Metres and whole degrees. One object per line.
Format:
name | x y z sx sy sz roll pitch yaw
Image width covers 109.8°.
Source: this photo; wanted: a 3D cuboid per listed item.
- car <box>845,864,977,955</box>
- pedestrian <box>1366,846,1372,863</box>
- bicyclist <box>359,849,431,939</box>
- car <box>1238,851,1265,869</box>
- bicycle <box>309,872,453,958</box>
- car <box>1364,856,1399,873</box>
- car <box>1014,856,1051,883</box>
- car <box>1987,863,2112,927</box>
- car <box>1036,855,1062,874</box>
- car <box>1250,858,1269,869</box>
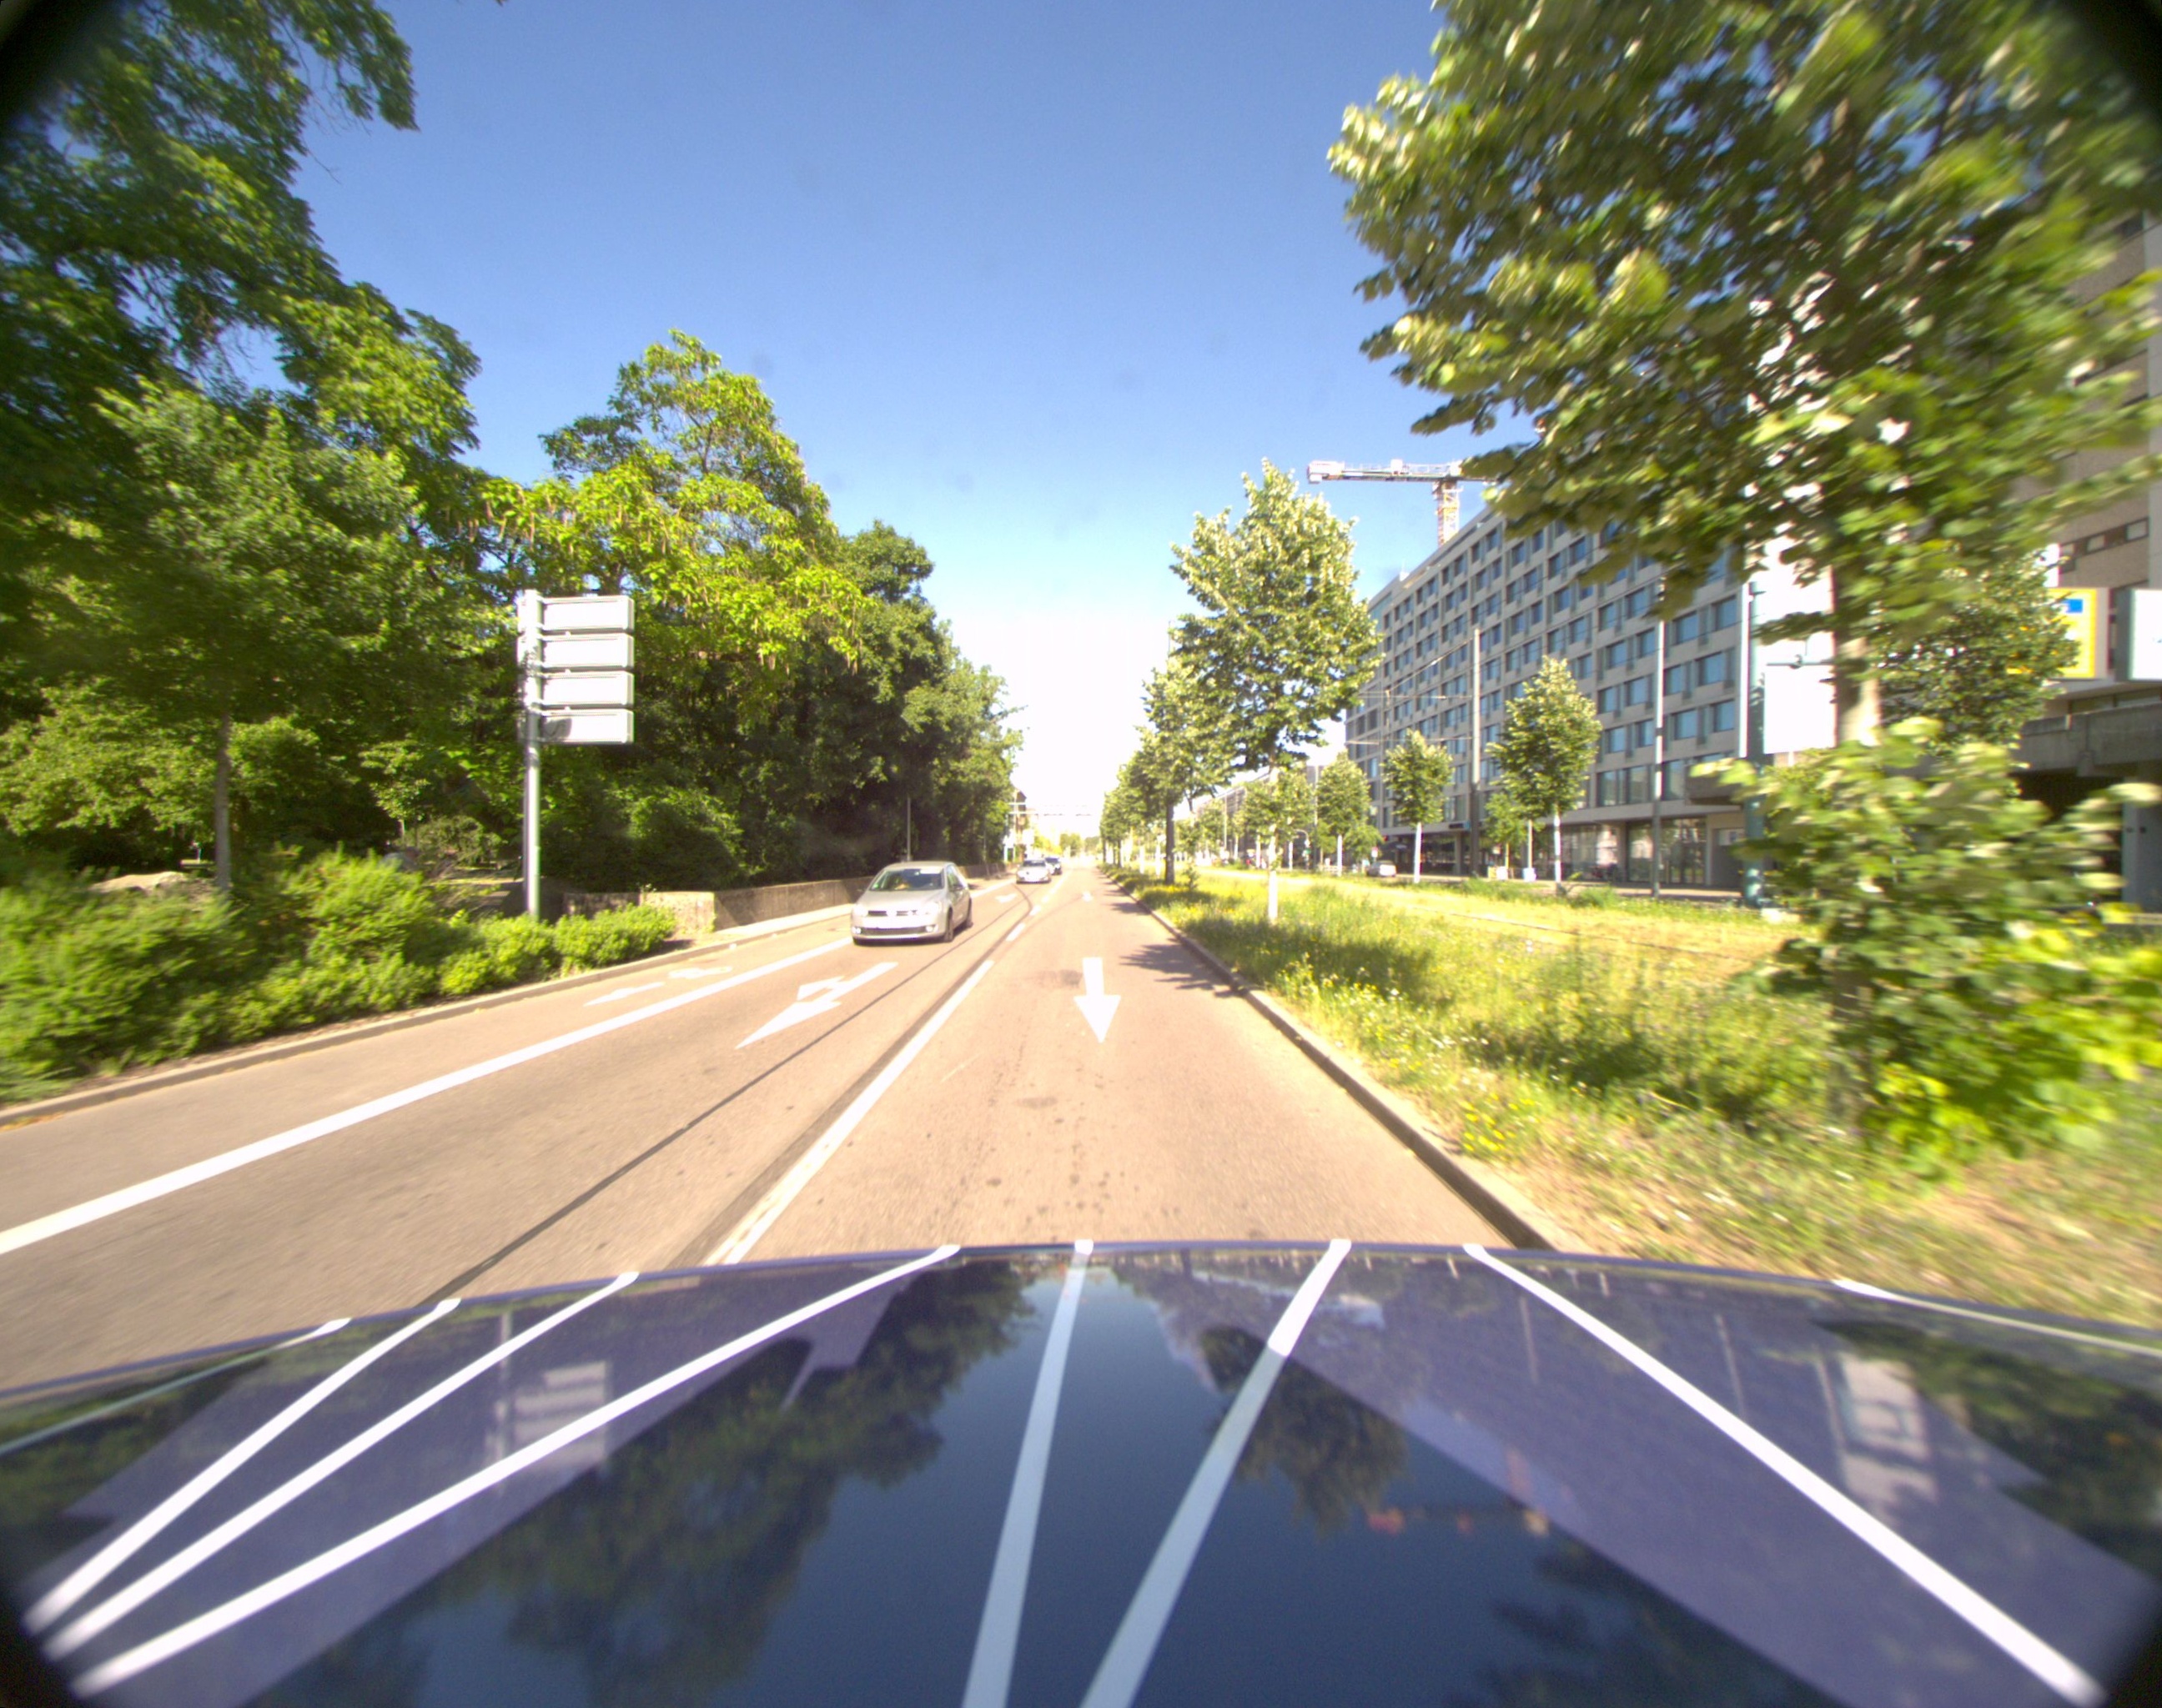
car | -3.167 0.975 14.975 1.703 1.466 3.999 -1 0 0
pedestrian | 31.190 0.011 82.277 0.509 1.829 0.515 -1 1 12
bicyclist | -11.764 0.674 13.043 0.688 1.498 0.570 -1 1 0
car | 17.761 0.615 79.358 1.998 1.808 4.285 -1 0 1
bicycle | -11.756 0.976 12.859 0.624 1.284 1.909 -1 1 0
car | 28.639 0.994 72.557 1.865 1.541 3.772 -1 0 0
car | -2.716 0.849 43.175 1.839 1.415 3.999 -1 0 0
car | 29.166 1.148 23.018 1.791 1.674 4.008 0 1 44
car | -2.609 0.813 61.449 1.999 1.493 3.999 1 0 -2
car | 25.393 1.312 108.405 1.827 1.499 3.813 -1 0 0
